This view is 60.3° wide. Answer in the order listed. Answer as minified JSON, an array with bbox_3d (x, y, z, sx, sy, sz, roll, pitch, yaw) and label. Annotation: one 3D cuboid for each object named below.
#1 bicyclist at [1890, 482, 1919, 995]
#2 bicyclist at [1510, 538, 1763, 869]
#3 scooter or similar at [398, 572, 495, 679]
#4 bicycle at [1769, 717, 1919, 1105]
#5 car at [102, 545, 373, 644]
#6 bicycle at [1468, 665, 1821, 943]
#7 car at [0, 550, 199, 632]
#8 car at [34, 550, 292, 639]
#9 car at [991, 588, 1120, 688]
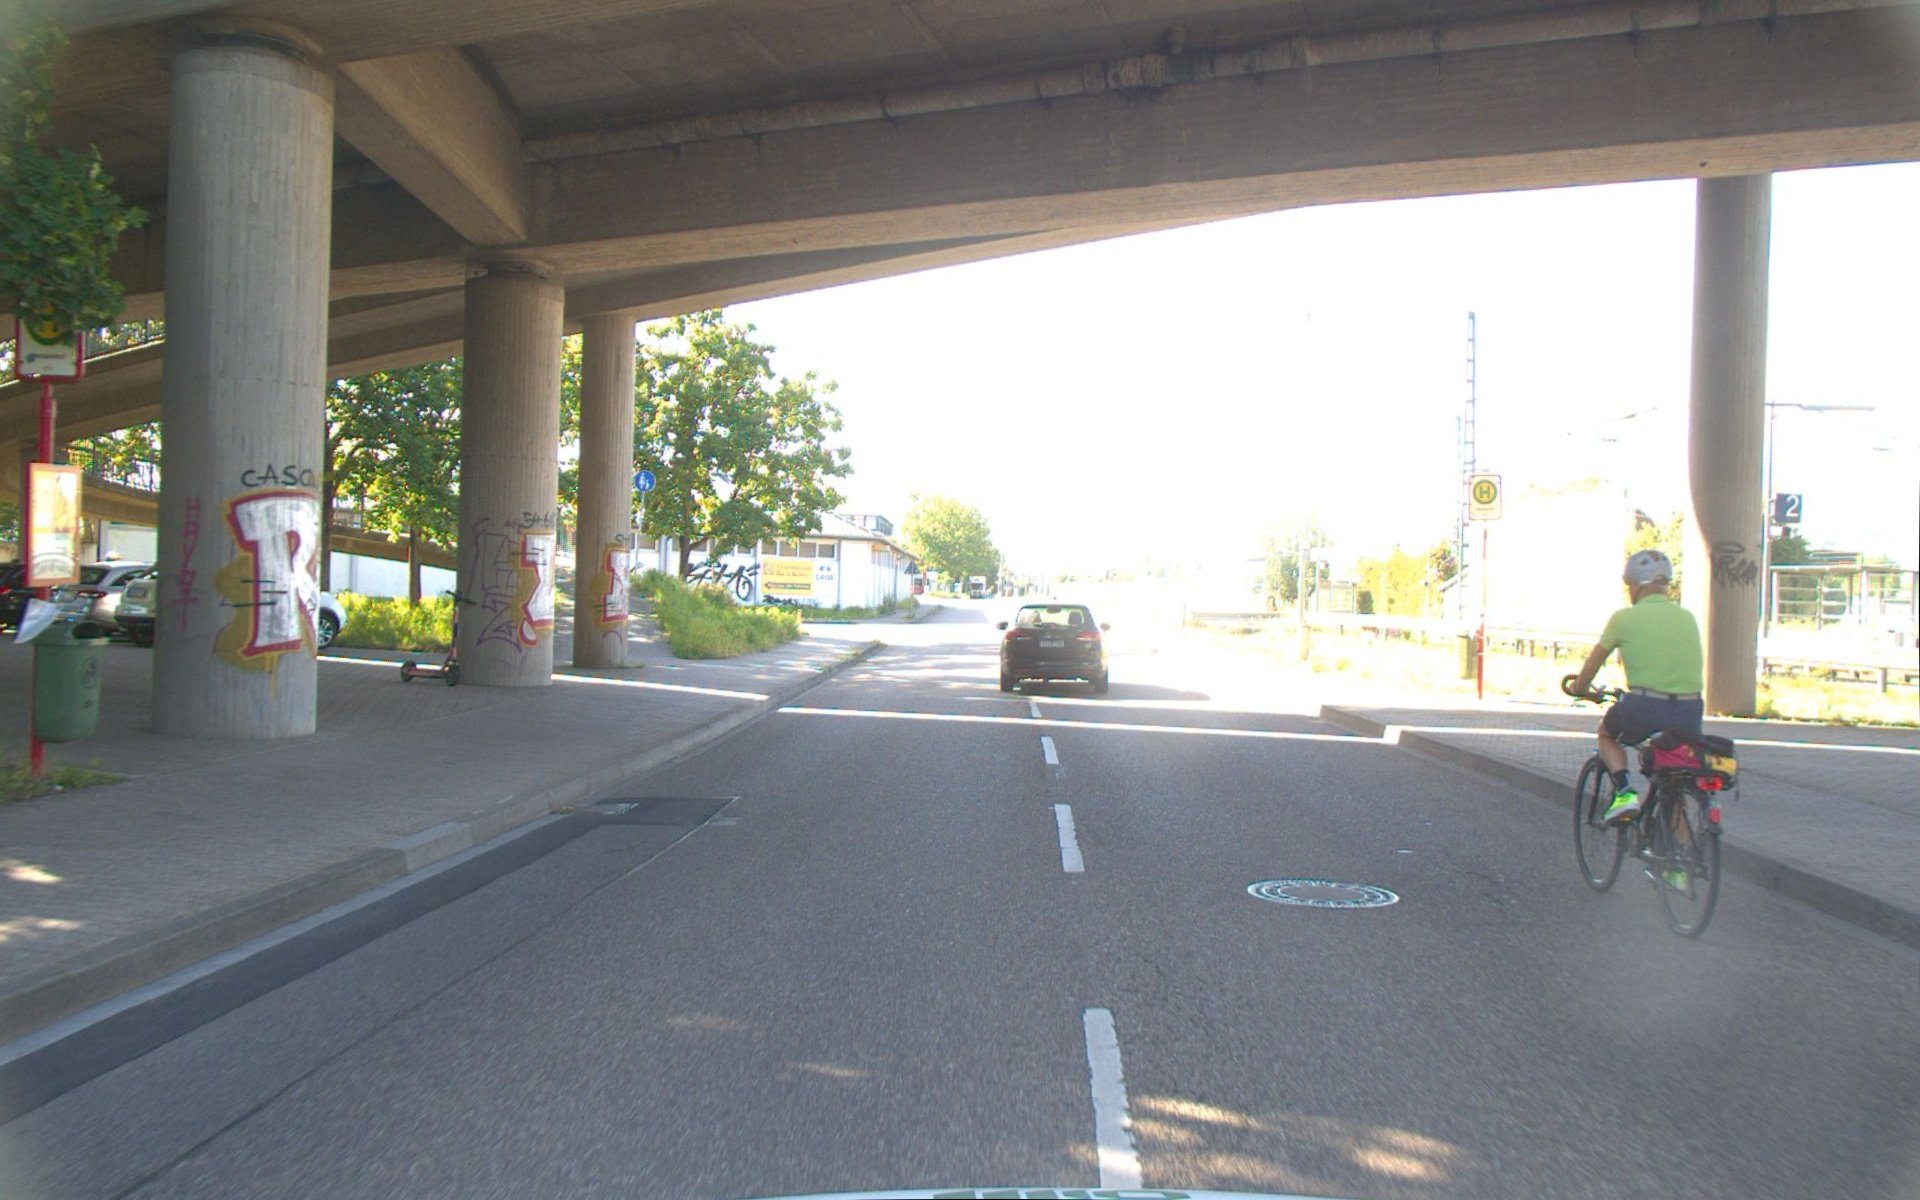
[{"bbox_3d":[3.261,0.419,4.568,0.824,1.514,0.923,1,0,-2],"label":"bicyclist"},{"bbox_3d":[3.290,0.475,8.128,0.823,1.514,0.923,1,0,-1],"label":"bicyclist"},{"bbox_3d":[-6.652,0.321,21.398,1.285,1.323,0.576,2,0,41],"label":"scooter or similar"},{"bbox_3d":[3.248,0.961,4.634,0.824,1.070,2.189,1,1,-2],"label":"bicycle"},{"bbox_3d":[-13.204,-0.096,30.469,1.831,1.670,4.268,-2,-1,34],"label":"car"},{"bbox_3d":[3.283,0.920,8.216,0.823,1.070,2.190,1,1,0],"label":"bicycle"},{"bbox_3d":[-18.068,-0.184,33.918,1.647,1.579,4.290,2,0,30],"label":"car"},{"bbox_3d":[-15.297,-0.095,31.974,1.647,1.579,4.290,2,0,30],"label":"car"},{"bbox_3d":[1.498,0.571,27.567,1.902,1.515,4.565,1,0,0],"label":"car"}]
